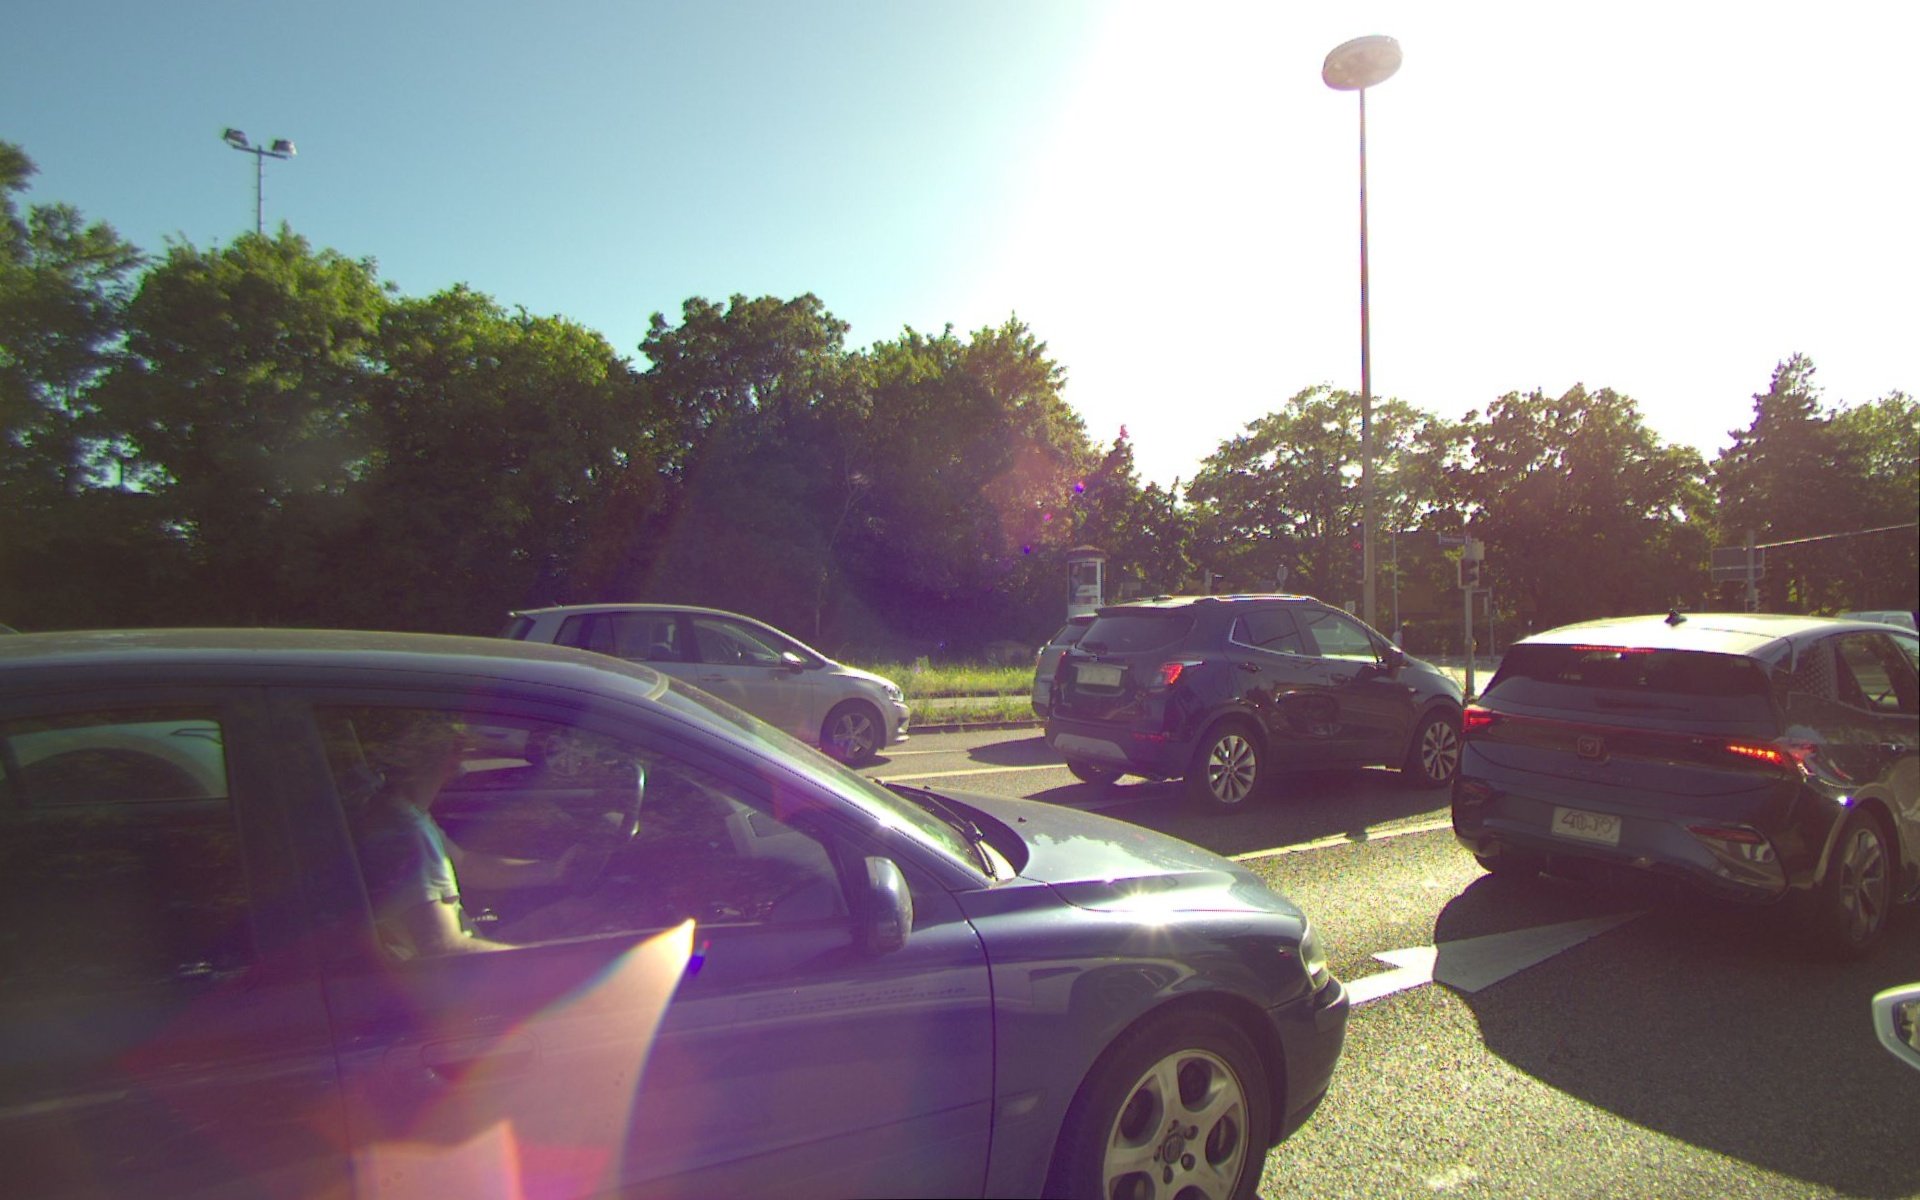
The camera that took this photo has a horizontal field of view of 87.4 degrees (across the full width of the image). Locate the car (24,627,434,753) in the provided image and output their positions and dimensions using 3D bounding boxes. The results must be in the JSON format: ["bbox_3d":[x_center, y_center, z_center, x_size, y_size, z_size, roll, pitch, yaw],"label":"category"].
[{"bbox_3d":[-10.001,1.169,14.276,4.449,1.544,1.881,1,-2,-29],"label":"car"}]

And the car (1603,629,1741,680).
[{"bbox_3d":[21.522,1.615,30.327,4.561,1.452,1.678,1,-2,-30],"label":"car"}]

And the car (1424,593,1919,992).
[{"bbox_3d":[4.752,0.830,5.825,4.158,1.601,1.676,2,-1,-30],"label":"car"}]

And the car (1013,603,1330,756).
[{"bbox_3d":[2.823,0.955,13.191,3.956,1.724,1.820,1,-2,-32],"label":"car"}]

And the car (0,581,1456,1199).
[{"bbox_3d":[-1.084,0.727,2.210,4.404,1.471,1.767,2,0,-30],"label":"car"}]

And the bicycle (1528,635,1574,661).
[{"bbox_3d":[28.624,2.335,48.637,2.509,1.228,0.870,1,-2,-34],"label":"bicycle"}]

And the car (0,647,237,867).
[{"bbox_3d":[-7.901,1.077,6.952,4.499,1.448,1.822,1,-2,-30],"label":"car"}]

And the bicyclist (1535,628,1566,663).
[{"bbox_3d":[28.541,2.207,48.577,1.188,1.670,0.870,1,-2,-35],"label":"bicyclist"}]

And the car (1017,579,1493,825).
[{"bbox_3d":[2.632,0.771,8.804,3.953,1.711,1.796,1,-2,-30],"label":"car"}]

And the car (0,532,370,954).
[{"bbox_3d":[-5.225,0.599,4.525,4.373,1.732,1.984,1,-2,-30],"label":"car"}]

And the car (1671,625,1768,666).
[{"bbox_3d":[29.885,1.780,39.503,3.956,1.529,1.678,1,-2,-30],"label":"car"}]

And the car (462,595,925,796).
[{"bbox_3d":[-2.601,0.838,10.015,4.156,1.632,1.822,1,-2,-30],"label":"car"}]

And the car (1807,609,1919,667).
[{"bbox_3d":[41.425,1.716,46.057,5.934,2.525,2.090,1,-2,-30],"label":"car"}]
